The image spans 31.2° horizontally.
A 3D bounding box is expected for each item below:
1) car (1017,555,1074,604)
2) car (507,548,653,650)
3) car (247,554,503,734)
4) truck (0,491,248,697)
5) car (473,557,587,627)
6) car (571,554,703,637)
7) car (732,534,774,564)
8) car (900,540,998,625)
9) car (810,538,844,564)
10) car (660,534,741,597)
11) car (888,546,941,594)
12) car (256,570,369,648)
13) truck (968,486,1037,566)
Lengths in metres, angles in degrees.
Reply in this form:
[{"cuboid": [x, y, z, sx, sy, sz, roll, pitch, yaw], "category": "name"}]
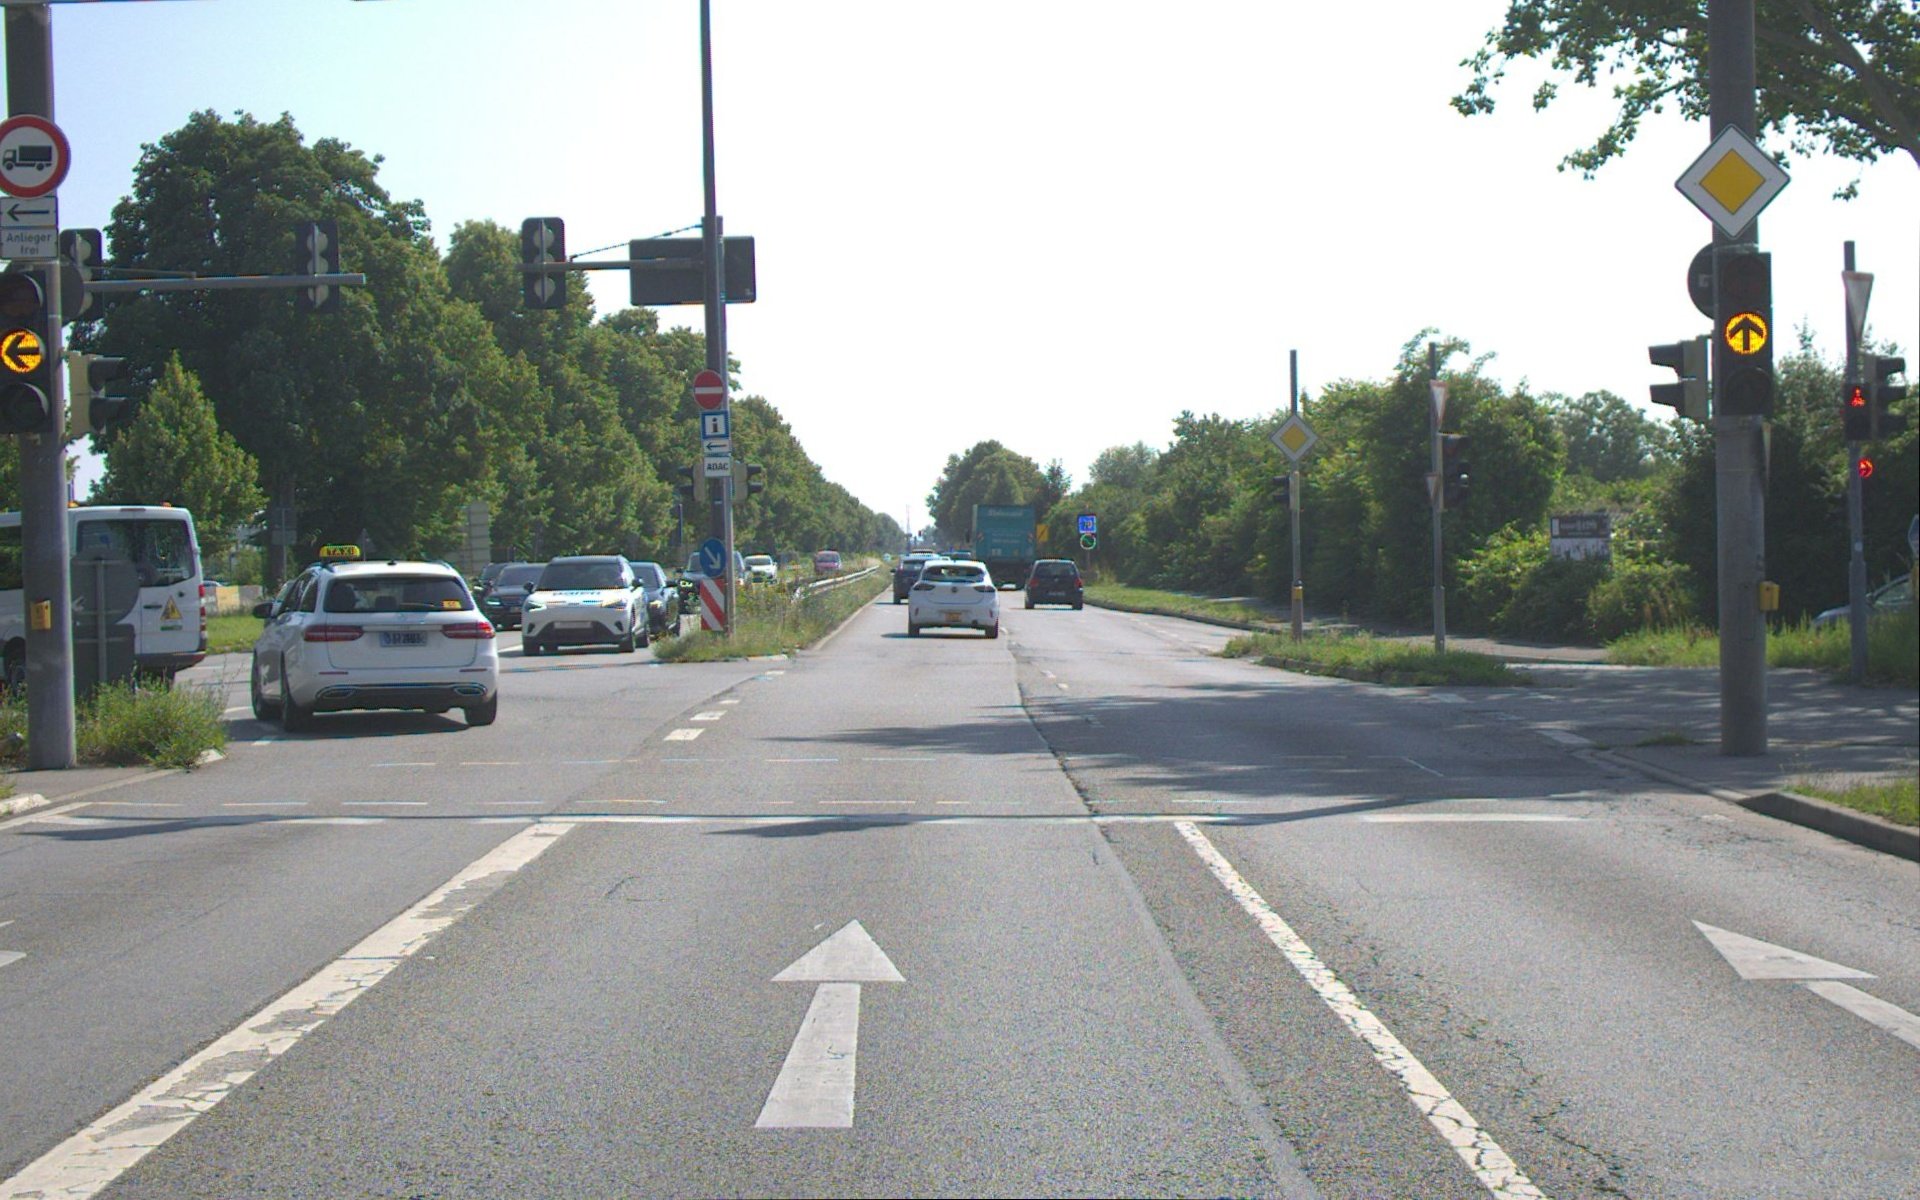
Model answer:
[{"cuboid": [2.464, -0.591, 99.564, 1.572, 1.410, 3.277, 0, 0, 0], "category": "car"}, {"cuboid": [-6.372, -0.039, 58.050, 2.010, 1.604, 4.211, -1, 1, -1], "category": "car"}, {"cuboid": [-5.424, 0.357, 31.416, 1.812, 1.459, 4.972, -2, 1, -15], "category": "car"}, {"cuboid": [-11.563, -0.106, 42.925, 2.375, 2.381, 6.037, -2, 2, -43], "category": "truck"}, {"cuboid": [-9.591, -0.206, 77.008, 1.930, 1.432, 4.267, -2, 1, 1], "category": "car"}, {"cuboid": [-6.046, -0.119, 64.866, 1.817, 1.480, 4.893, -1, 1, 2], "category": "car"}, {"cuboid": [-10.460, -2.594, 173.934, 1.993, 1.497, 4.091, -1, 1, -2], "category": "car"}, {"cuboid": [-0.184, -0.358, 65.653, 1.799, 1.547, 4.000, 0, 1, 1], "category": "car"}, {"cuboid": [-7.902, -2.946, 204.462, 1.912, 1.497, 4.091, -1, 1, -2], "category": "car"}, {"cuboid": [-6.852, -0.933, 90.997, 1.847, 1.589, 4.617, -1, 1, -1], "category": "car"}, {"cuboid": [-1.409, -0.941, 106.644, 1.572, 1.409, 3.278, -1, 1, 0], "category": "car"}, {"cuboid": [-12.982, 0.154, 69.127, 1.486, 1.409, 3.762, -3, 1, 0], "category": "car"}, {"cuboid": [1.842, -3.293, 153.680, 2.891, 3.417, 9.169, -1, 1, 0], "category": "truck"}]
